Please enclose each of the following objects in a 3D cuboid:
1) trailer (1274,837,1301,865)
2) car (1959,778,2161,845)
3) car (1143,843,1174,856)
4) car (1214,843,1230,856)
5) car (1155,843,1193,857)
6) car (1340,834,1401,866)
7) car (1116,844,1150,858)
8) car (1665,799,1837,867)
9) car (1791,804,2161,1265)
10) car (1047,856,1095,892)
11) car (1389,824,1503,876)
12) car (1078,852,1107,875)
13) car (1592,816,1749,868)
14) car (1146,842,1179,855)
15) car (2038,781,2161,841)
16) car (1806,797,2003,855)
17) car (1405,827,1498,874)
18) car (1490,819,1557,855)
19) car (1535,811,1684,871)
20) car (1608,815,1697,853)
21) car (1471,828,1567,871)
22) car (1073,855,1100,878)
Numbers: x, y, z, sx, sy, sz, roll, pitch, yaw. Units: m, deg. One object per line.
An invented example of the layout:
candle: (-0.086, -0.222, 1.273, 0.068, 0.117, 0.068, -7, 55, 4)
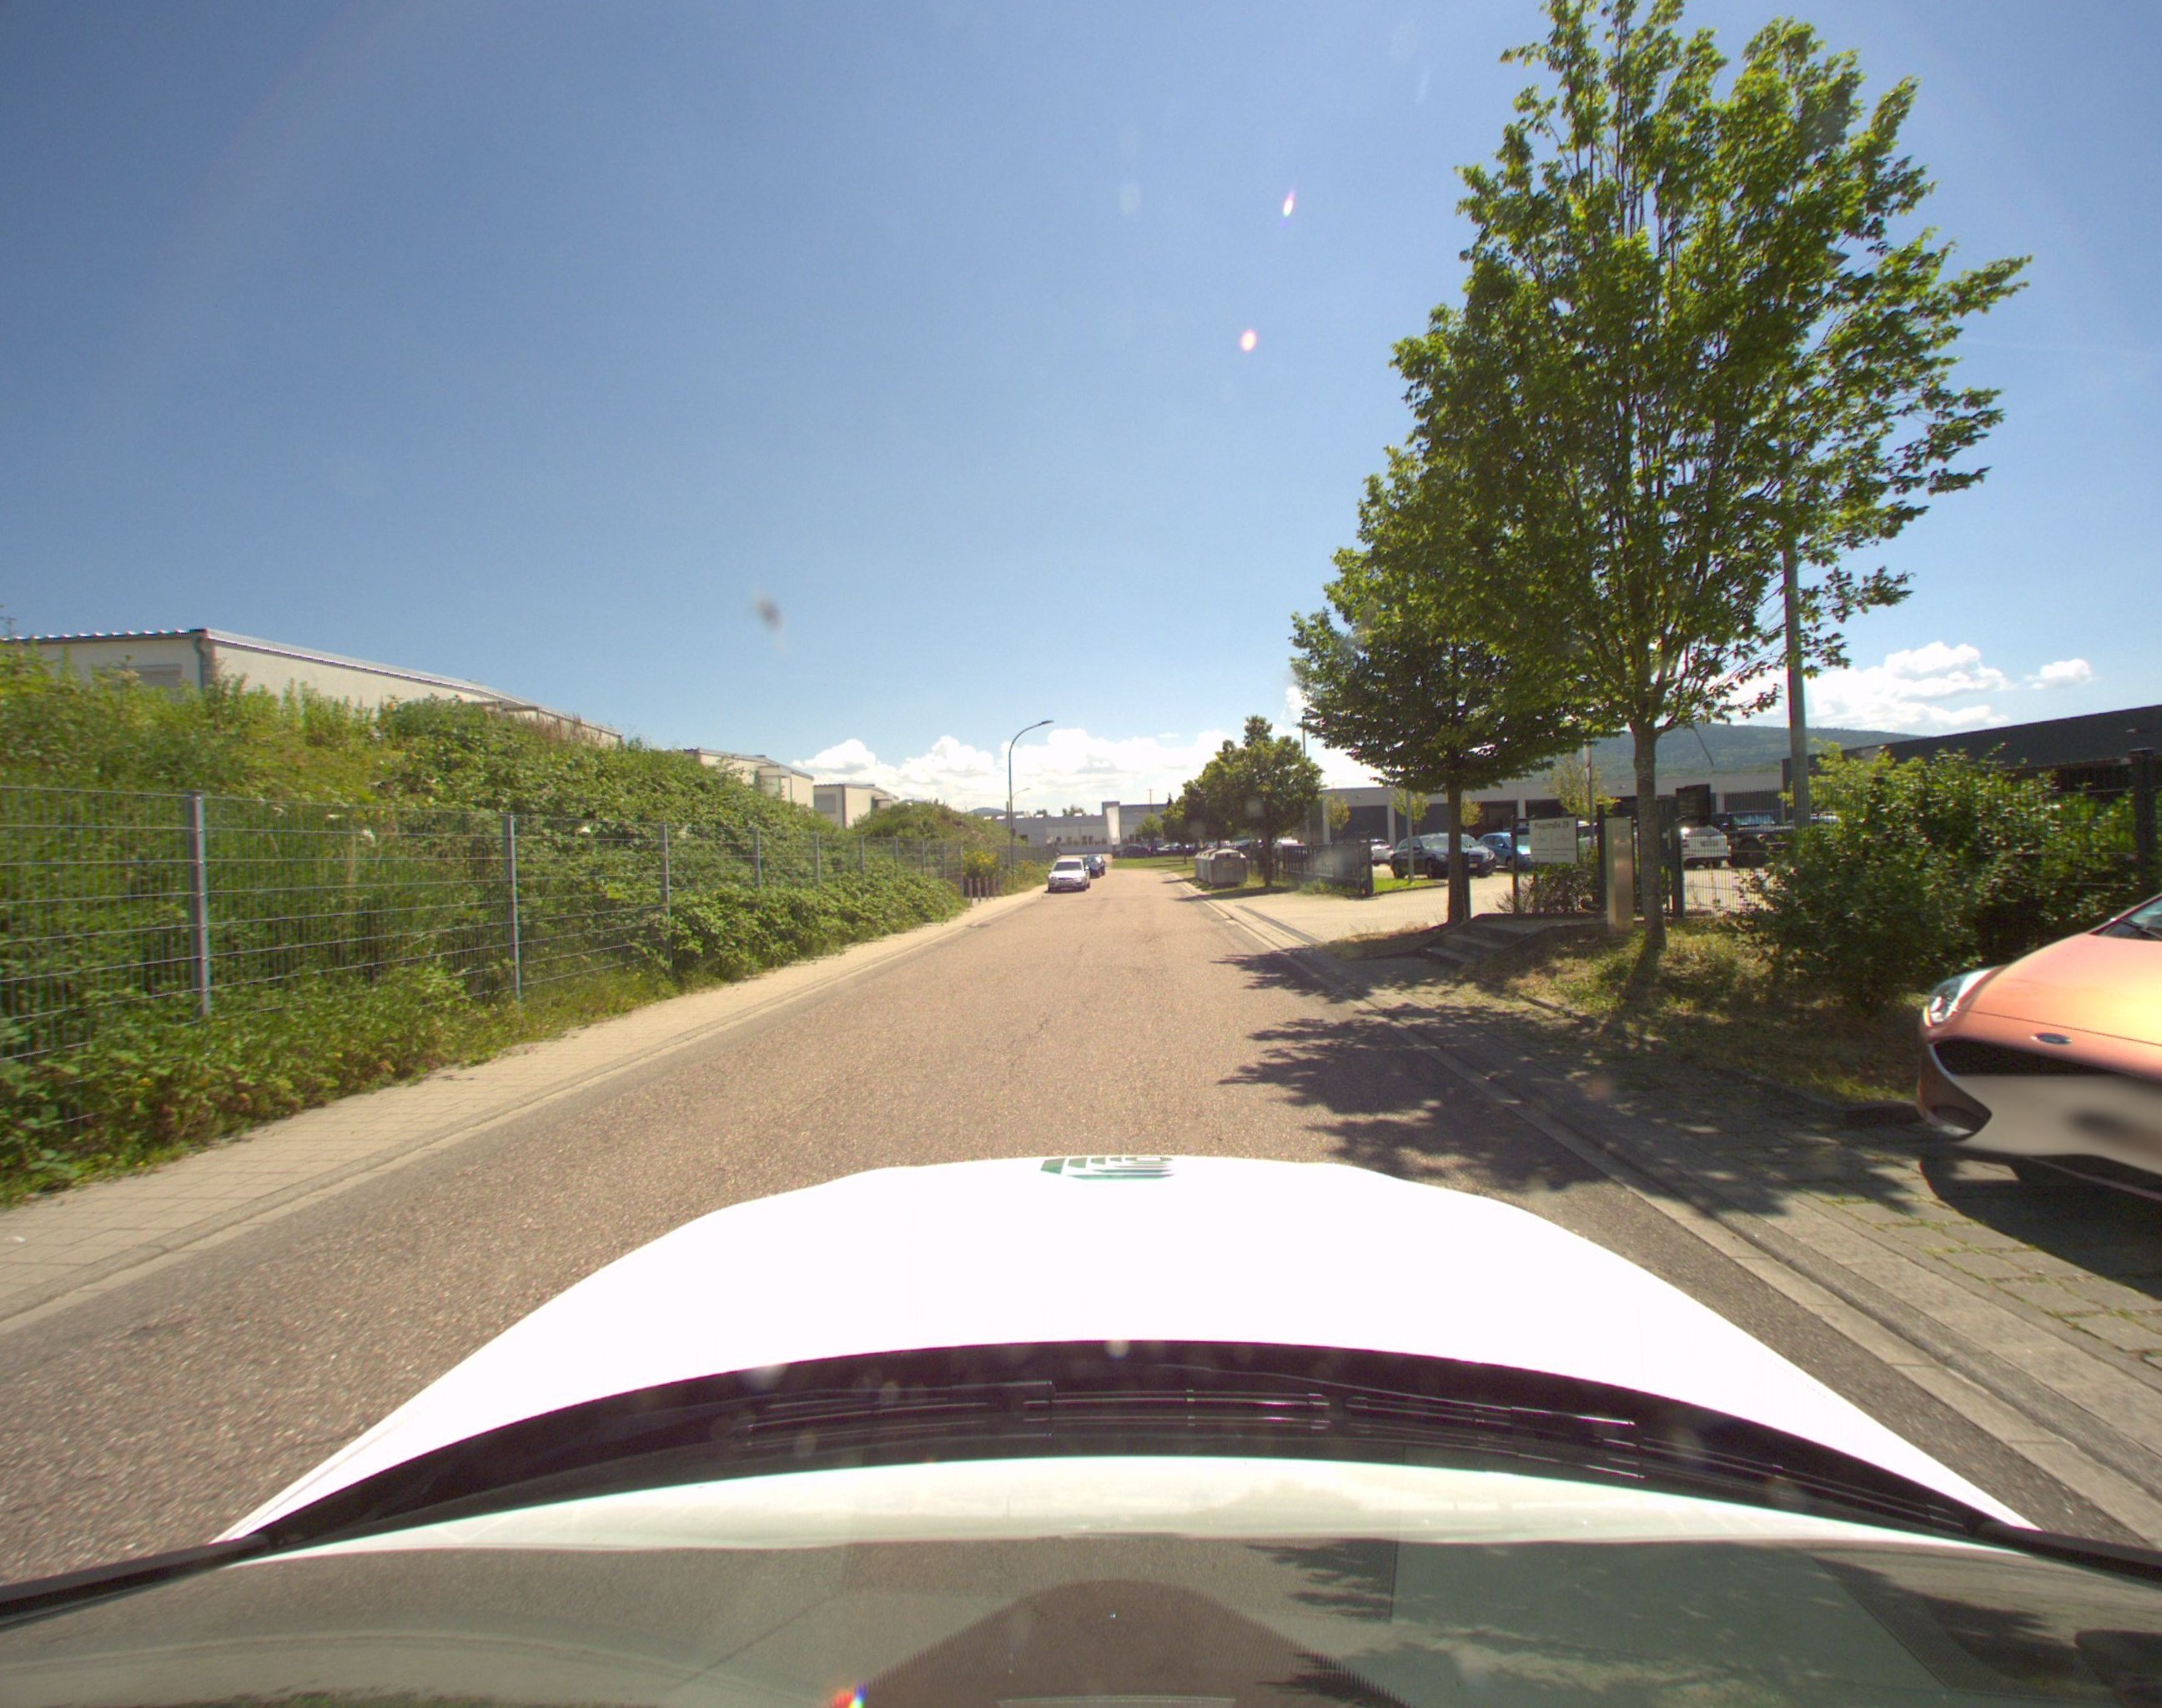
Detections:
trailer: (16.379, -0.297, 64.768, 1.486, 2.006, 3.270, -3, 2, 5)
car: (31.726, -1.292, 26.256, 1.904, 1.715, 4.533, -3, -2, 1)
car: (10.615, -0.605, 111.592, 3.972, 1.398, 2.001, -3, -2, 2)
car: (22.360, -0.775, 129.206, 1.985, 1.827, 4.003, -3, -2, 4)
car: (11.135, -0.478, 97.645, 4.421, 1.398, 2.001, -3, -2, 2)
car: (15.330, -0.176, 43.341, 1.783, 1.433, 4.144, -3, -2, 2)
car: (6.211, -0.342, 97.995, 3.972, 1.398, 2.001, -3, -2, 2)
car: (21.724, -0.598, 26.705, 1.904, 1.900, 4.517, -3, -2, 1)
car: (5.476, 0.468, 3.073, 3.973, 1.495, 1.725, -4, -2, 1)
car: (-0.429, 0.913, 38.993, 1.825, 1.546, 4.372, -3, 0, 4)
car: (11.772, -0.054, 26.604, 1.783, 1.455, 4.410, -3, -2, 1)
car: (0.919, 0.700, 61.300, 1.825, 1.546, 4.269, -3, 0, 4)
car: (19.262, -0.322, 26.916, 1.832, 1.433, 4.651, -3, -2, 1)
car: (10.304, -0.722, 102.805, 3.972, 1.398, 2.001, -3, -2, 2)
car: (34.478, -1.430, 26.233, 1.904, 1.715, 4.533, -3, -2, 1)
car: (26.750, -0.847, 26.737, 1.904, 1.533, 4.517, -3, -2, 1)
car: (14.476, -0.189, 32.061, 1.783, 1.622, 4.244, -3, 2, 1)
car: (32.998, -1.202, 60.967, 1.874, 2.263, 5.656, -3, -3, 1)
car: (16.987, -0.332, 26.506, 1.832, 1.653, 4.651, -3, -2, 1)
car: (29.730, -0.997, 42.518, 1.783, 1.682, 4.101, -3, -2, 2)
car: (17.073, -0.233, 31.979, 1.640, 1.491, 4.025, -3, 2, 1)
car: (0.441, 0.819, 55.884, 1.650, 1.417, 4.147, -3, 0, 2)
